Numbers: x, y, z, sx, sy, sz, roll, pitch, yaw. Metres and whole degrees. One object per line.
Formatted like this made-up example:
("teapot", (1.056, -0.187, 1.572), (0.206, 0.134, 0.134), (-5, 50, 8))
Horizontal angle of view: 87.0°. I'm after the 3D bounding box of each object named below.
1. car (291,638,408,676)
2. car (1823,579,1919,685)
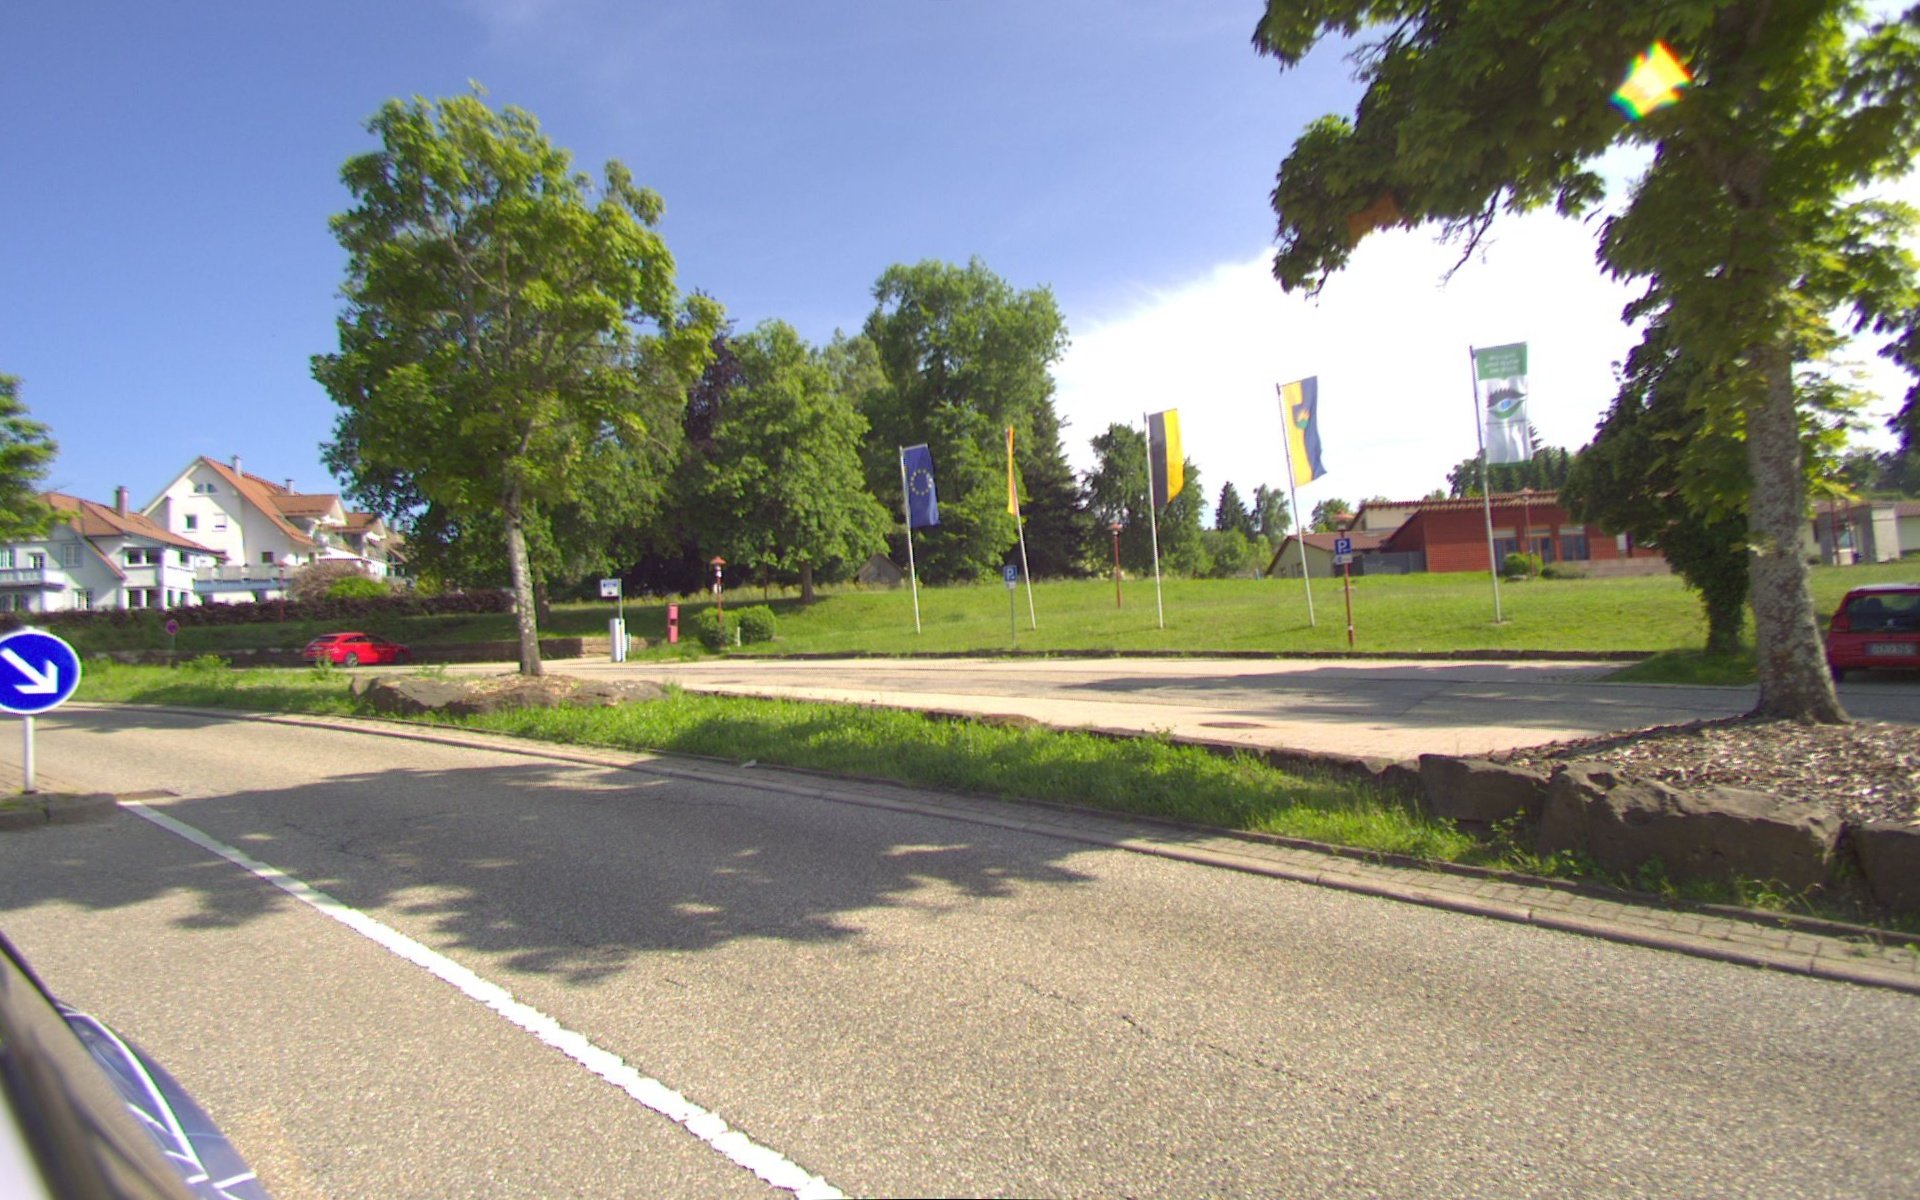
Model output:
("car", (-25.660, 2.365, 42.718), (1.805, 1.409, 4.221), (-3, -2, 13))
("car", (14.747, 0.428, 15.521), (3.158, 1.481, 1.779), (-2, 0, -40))
